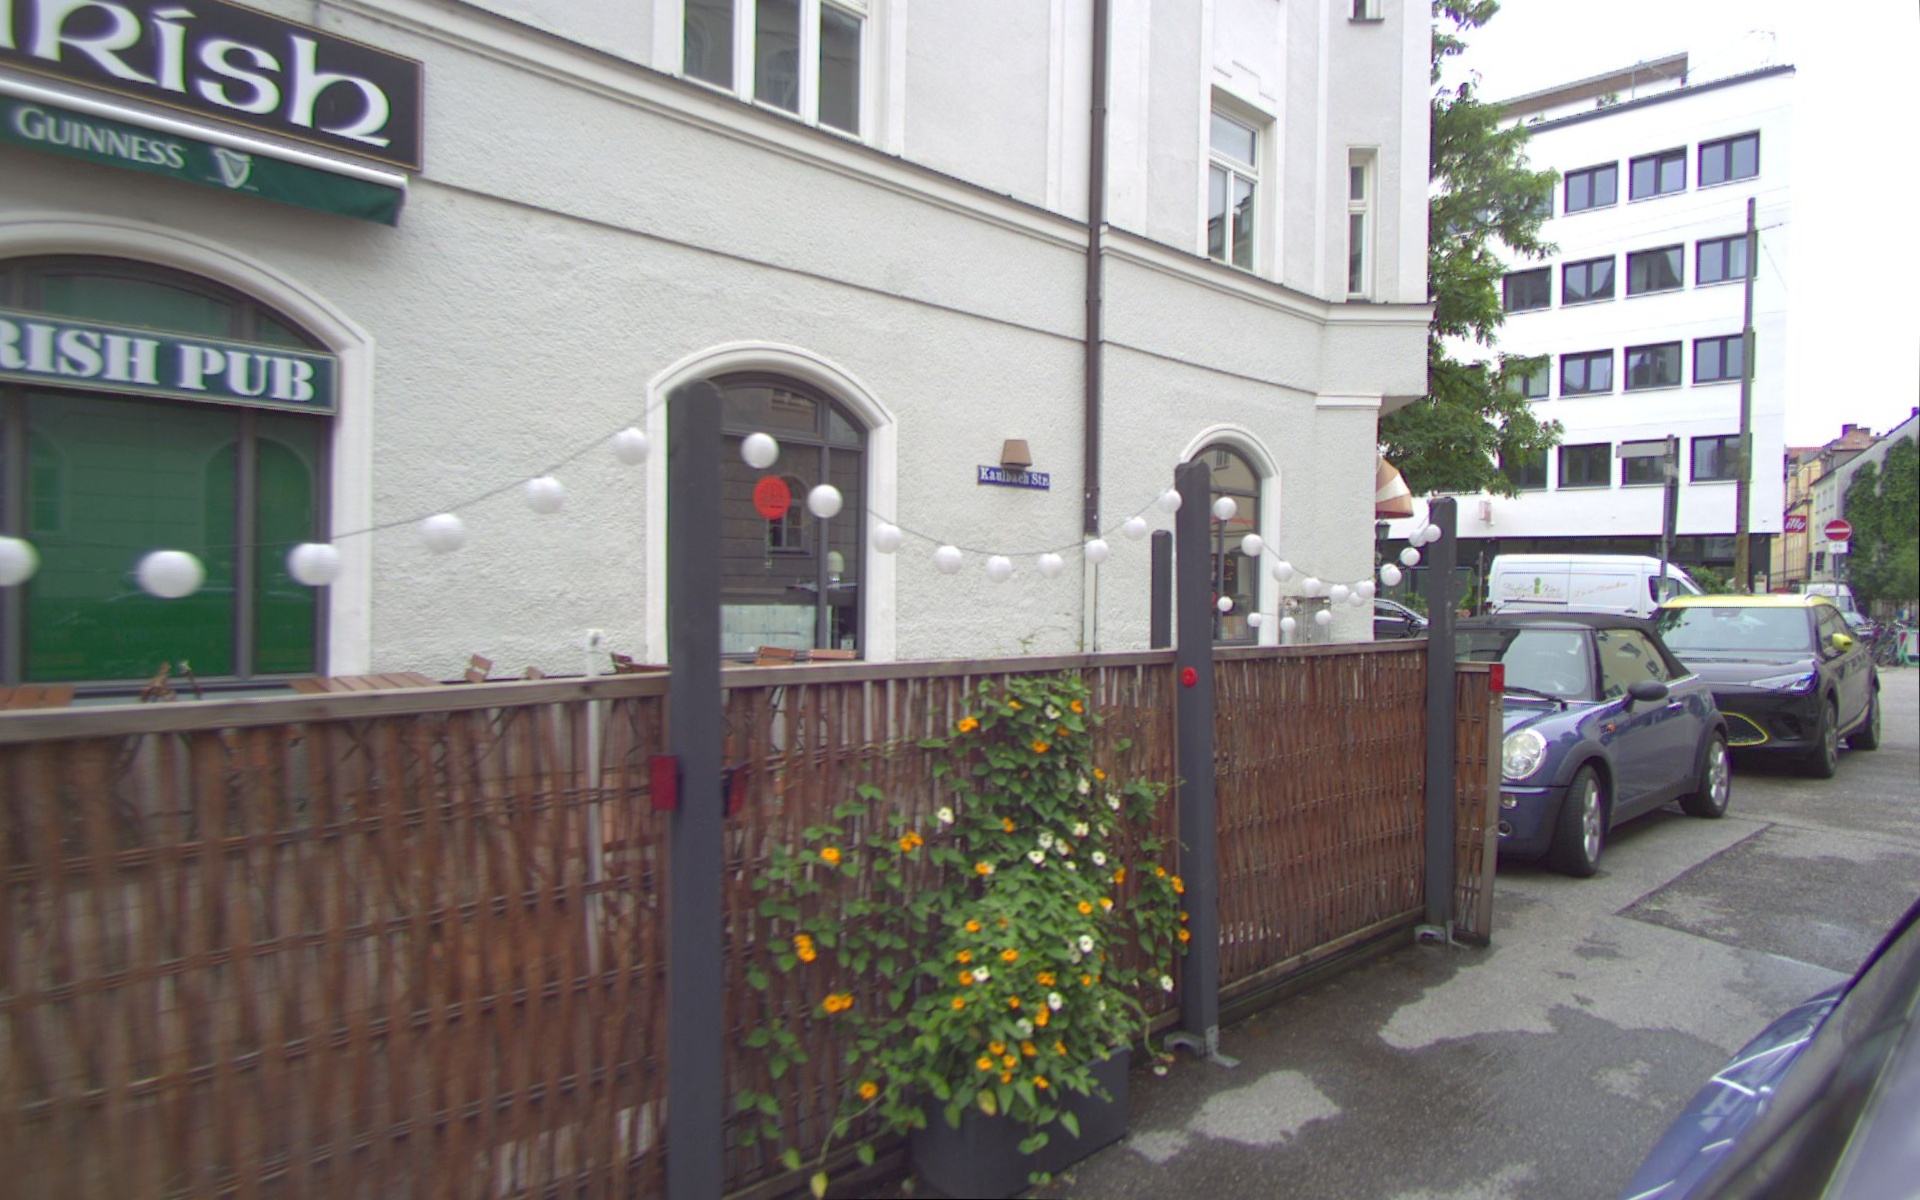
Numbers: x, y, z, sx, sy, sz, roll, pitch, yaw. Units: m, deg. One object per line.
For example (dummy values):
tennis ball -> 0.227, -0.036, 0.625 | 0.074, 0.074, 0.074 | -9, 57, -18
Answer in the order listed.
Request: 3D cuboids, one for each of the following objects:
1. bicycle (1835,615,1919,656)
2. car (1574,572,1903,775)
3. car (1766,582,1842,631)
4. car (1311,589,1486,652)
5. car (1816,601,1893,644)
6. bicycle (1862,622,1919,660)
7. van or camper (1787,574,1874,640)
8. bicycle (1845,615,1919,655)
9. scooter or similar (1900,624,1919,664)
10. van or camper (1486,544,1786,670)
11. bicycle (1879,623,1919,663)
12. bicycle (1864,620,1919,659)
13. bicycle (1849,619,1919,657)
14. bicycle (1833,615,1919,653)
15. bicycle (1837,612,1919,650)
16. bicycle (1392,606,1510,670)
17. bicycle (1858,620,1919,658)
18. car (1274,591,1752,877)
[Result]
bicycle -> 28.617, 1.078, 31.370 | 2.196, 1.160, 0.730 | 2, 0, 37
car -> 7.955, 0.633, 10.219 | 4.022, 1.640, 1.839 | 1, -2, -41
car -> 39.452, 0.276, 47.394 | 1.983, 2.161, 3.959 | 2, 1, 29
car -> 12.154, 0.558, 28.168 | 4.123, 1.505, 1.867 | 2, -2, 38
car -> 32.258, 0.791, 36.593 | 1.750, 1.412, 3.946 | 2, 1, 37
bicycle -> 26.731, 1.158, 28.283 | 2.163, 0.976, 0.962 | 2, 1, 37
van or camper -> 36.463, 0.259, 42.519 | 1.953, 2.540, 5.655 | 2, 1, 33
bicycle -> 29.257, 1.099, 31.874 | 2.025, 1.160, 0.660 | 2, 0, 37
scooter or similar -> 24.643, 1.131, 25.552 | 1.276, 0.988, 0.492 | 2, 0, 38
van or camper -> 16.460, 0.140, 24.859 | 5.847, 2.749, 2.269 | 2, -2, 42
bicycle -> 25.381, 1.144, 26.400 | 1.983, 0.976, 0.960 | 2, 1, 37
bicycle -> 25.998, 1.074, 27.406 | 2.166, 0.988, 0.962 | 2, 1, 37
bicycle -> 27.973, 1.124, 30.152 | 2.141, 1.045, 0.962 | 2, 1, 37
bicycle -> 30.934, 1.142, 34.133 | 2.195, 1.160, 0.631 | 2, 0, 37
bicycle -> 30.676, 1.026, 33.670 | 2.193, 1.160, 0.687 | 2, 0, 37
bicycle -> 9.700, 0.731, 20.070 | 0.673, 1.144, 2.011 | 1, 1, -36
bicycle -> 27.360, 1.131, 29.172 | 2.094, 1.045, 0.962 | 2, 1, 37
car -> 3.810, 0.697, 6.780 | 3.430, 1.418, 1.669 | 1, -2, -40
